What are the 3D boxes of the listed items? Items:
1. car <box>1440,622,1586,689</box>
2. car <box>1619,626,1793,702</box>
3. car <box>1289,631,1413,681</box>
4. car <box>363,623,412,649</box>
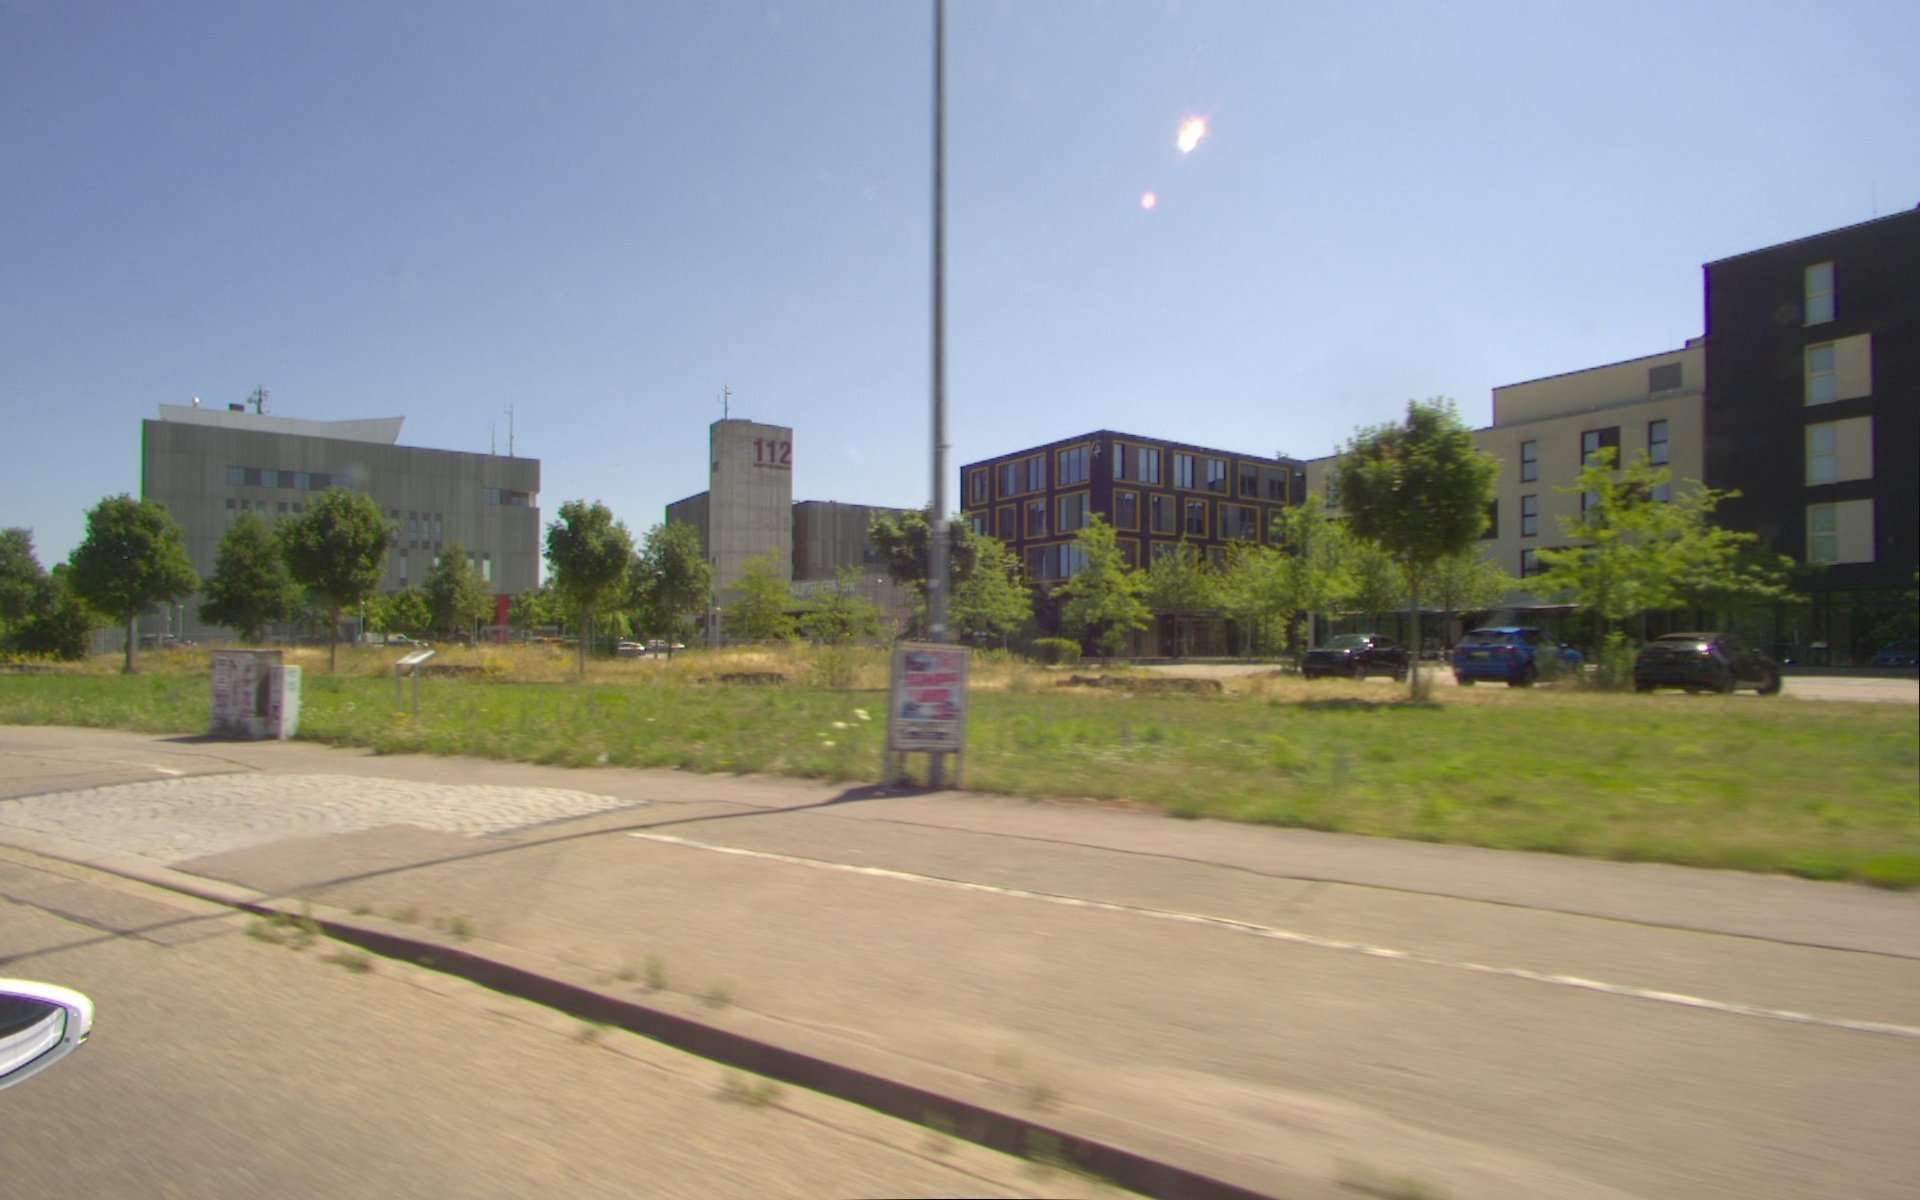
[{"bbox_3d":[15.009,1.481,27.128,4.021,1.672,1.942,2,-2,-36],"label":"car"},{"bbox_3d":[17.187,1.422,23.013,4.453,1.581,2.018,2,-2,-37],"label":"car"},{"bbox_3d":[12.232,1.709,31.231,4.083,1.463,1.945,2,-3,-41],"label":"car"},{"bbox_3d":[-52.320,3.271,91.557,3.806,2.323,1.731,1,-2,-35],"label":"car"}]
